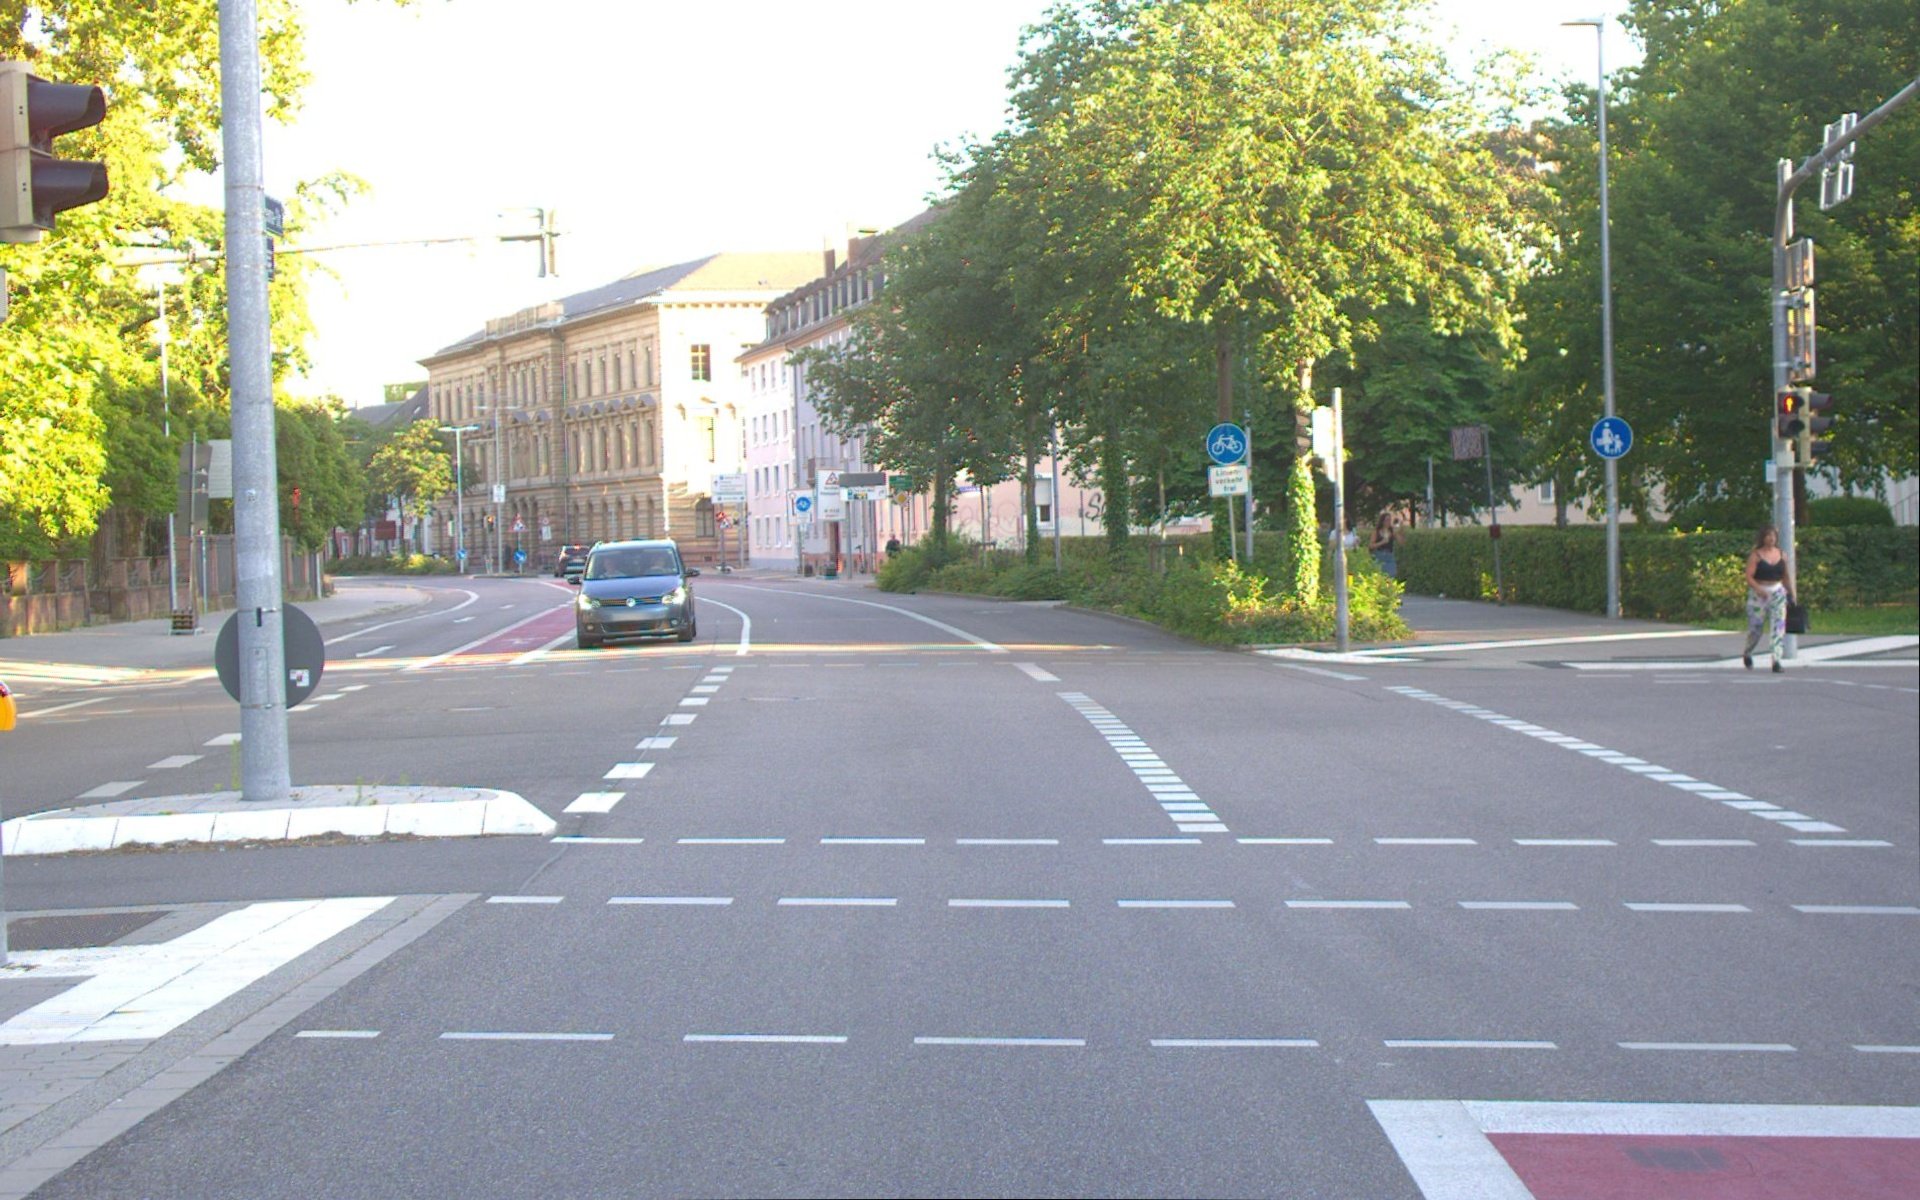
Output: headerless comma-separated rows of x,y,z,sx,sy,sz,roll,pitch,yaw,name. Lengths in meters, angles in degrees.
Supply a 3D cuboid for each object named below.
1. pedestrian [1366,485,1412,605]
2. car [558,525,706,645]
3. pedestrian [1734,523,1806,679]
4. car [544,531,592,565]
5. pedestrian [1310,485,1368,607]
7.215,-0.921,57.809,0.635,2.007,0.720,0,1,-4,pedestrian
-5.138,-0.266,54.388,1.849,1.714,4.296,-3,1,0,car
8.539,0.003,36.273,0.599,1.630,0.691,0,2,1,pedestrian
-19.613,-2.599,171.997,1.819,1.583,4.001,-3,1,-14,car
6.314,-0.898,57.255,0.870,2.007,0.722,0,1,0,pedestrian
